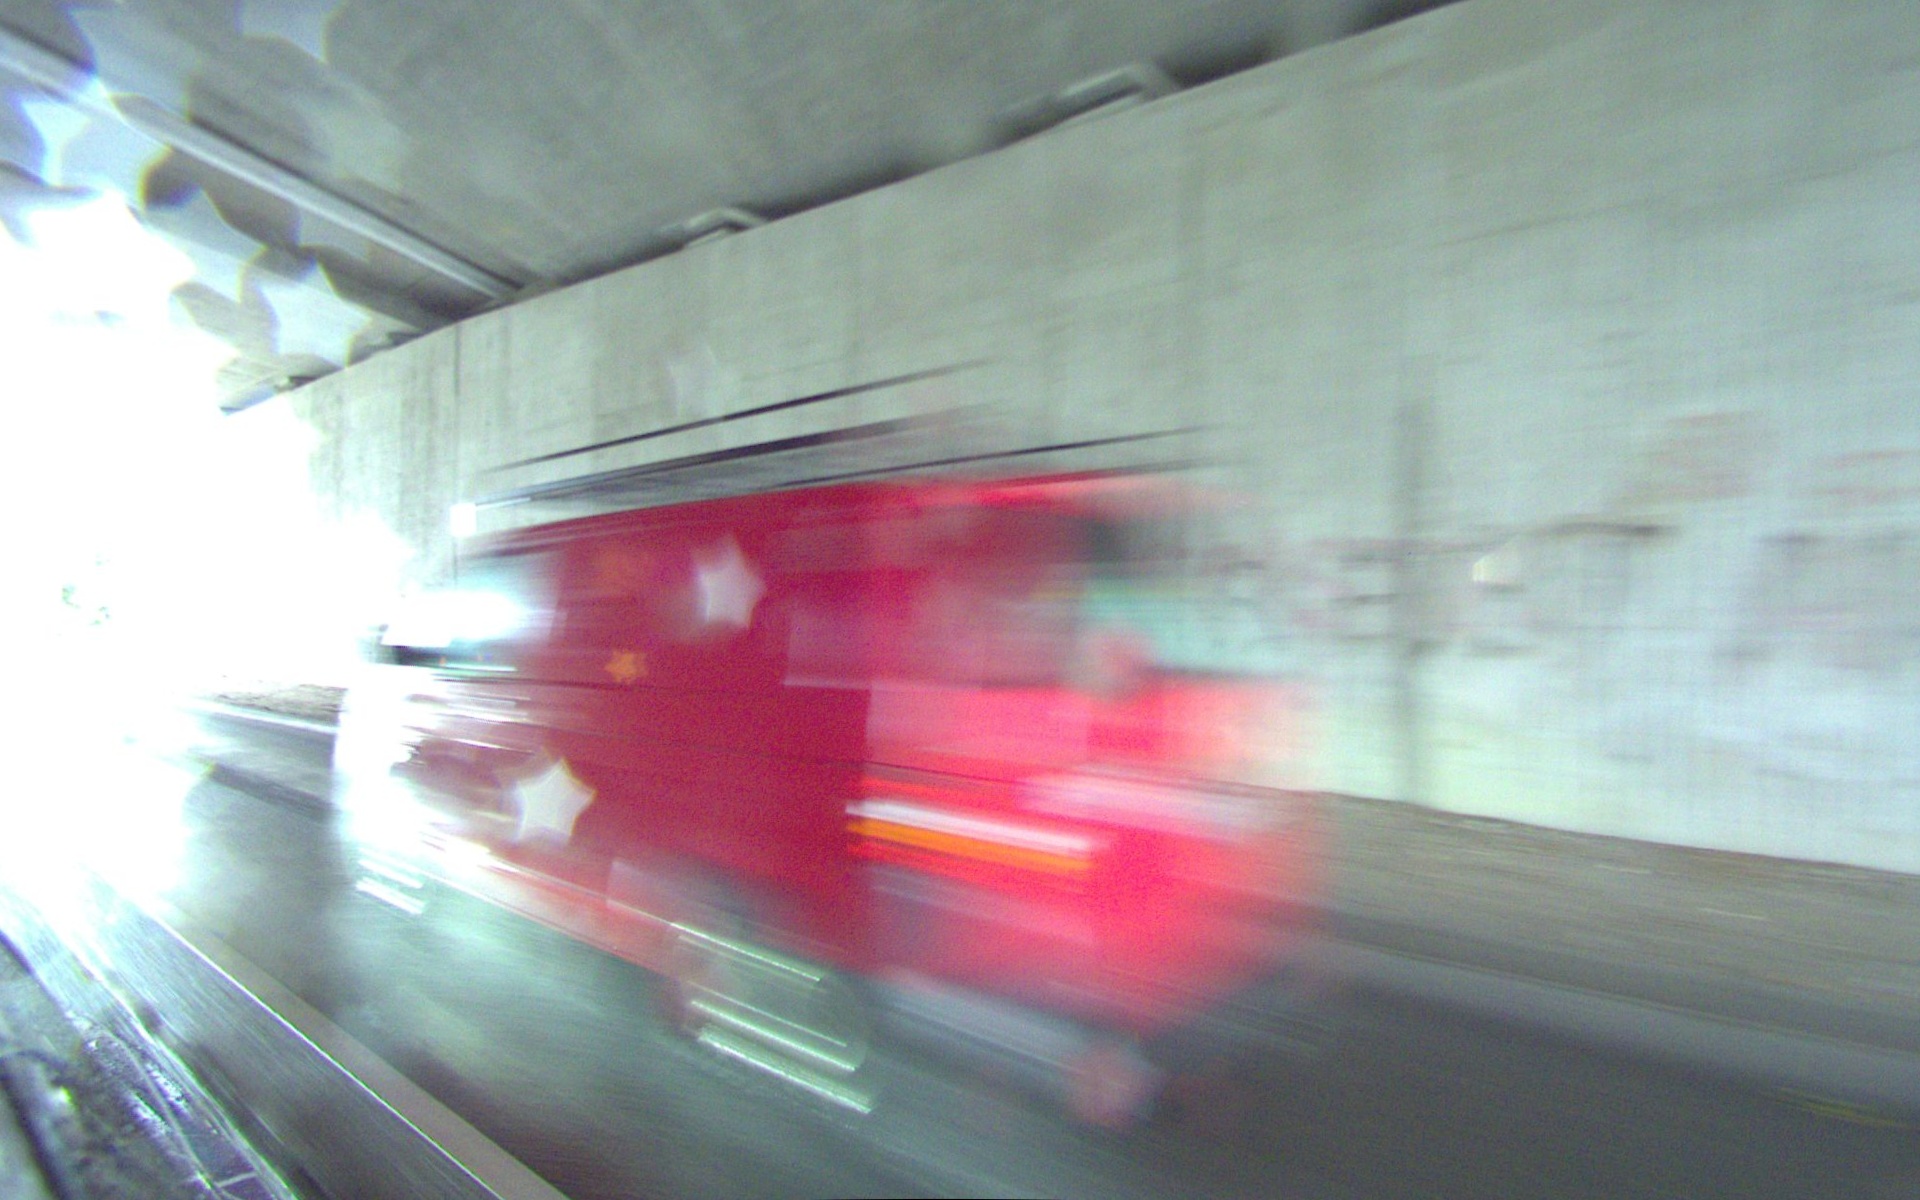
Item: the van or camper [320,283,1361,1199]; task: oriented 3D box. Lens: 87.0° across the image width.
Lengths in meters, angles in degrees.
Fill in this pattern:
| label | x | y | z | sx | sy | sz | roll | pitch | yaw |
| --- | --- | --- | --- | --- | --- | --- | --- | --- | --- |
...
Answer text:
| label | x | y | z | sx | sy | sz | roll | pitch | yaw |
| --- | --- | --- | --- | --- | --- | --- | --- | --- | --- |
| van or camper | -0.956 | 0.394 | 4.501 | 4.690 | 2.114 | 1.972 | -1 | 0 | 42 |
